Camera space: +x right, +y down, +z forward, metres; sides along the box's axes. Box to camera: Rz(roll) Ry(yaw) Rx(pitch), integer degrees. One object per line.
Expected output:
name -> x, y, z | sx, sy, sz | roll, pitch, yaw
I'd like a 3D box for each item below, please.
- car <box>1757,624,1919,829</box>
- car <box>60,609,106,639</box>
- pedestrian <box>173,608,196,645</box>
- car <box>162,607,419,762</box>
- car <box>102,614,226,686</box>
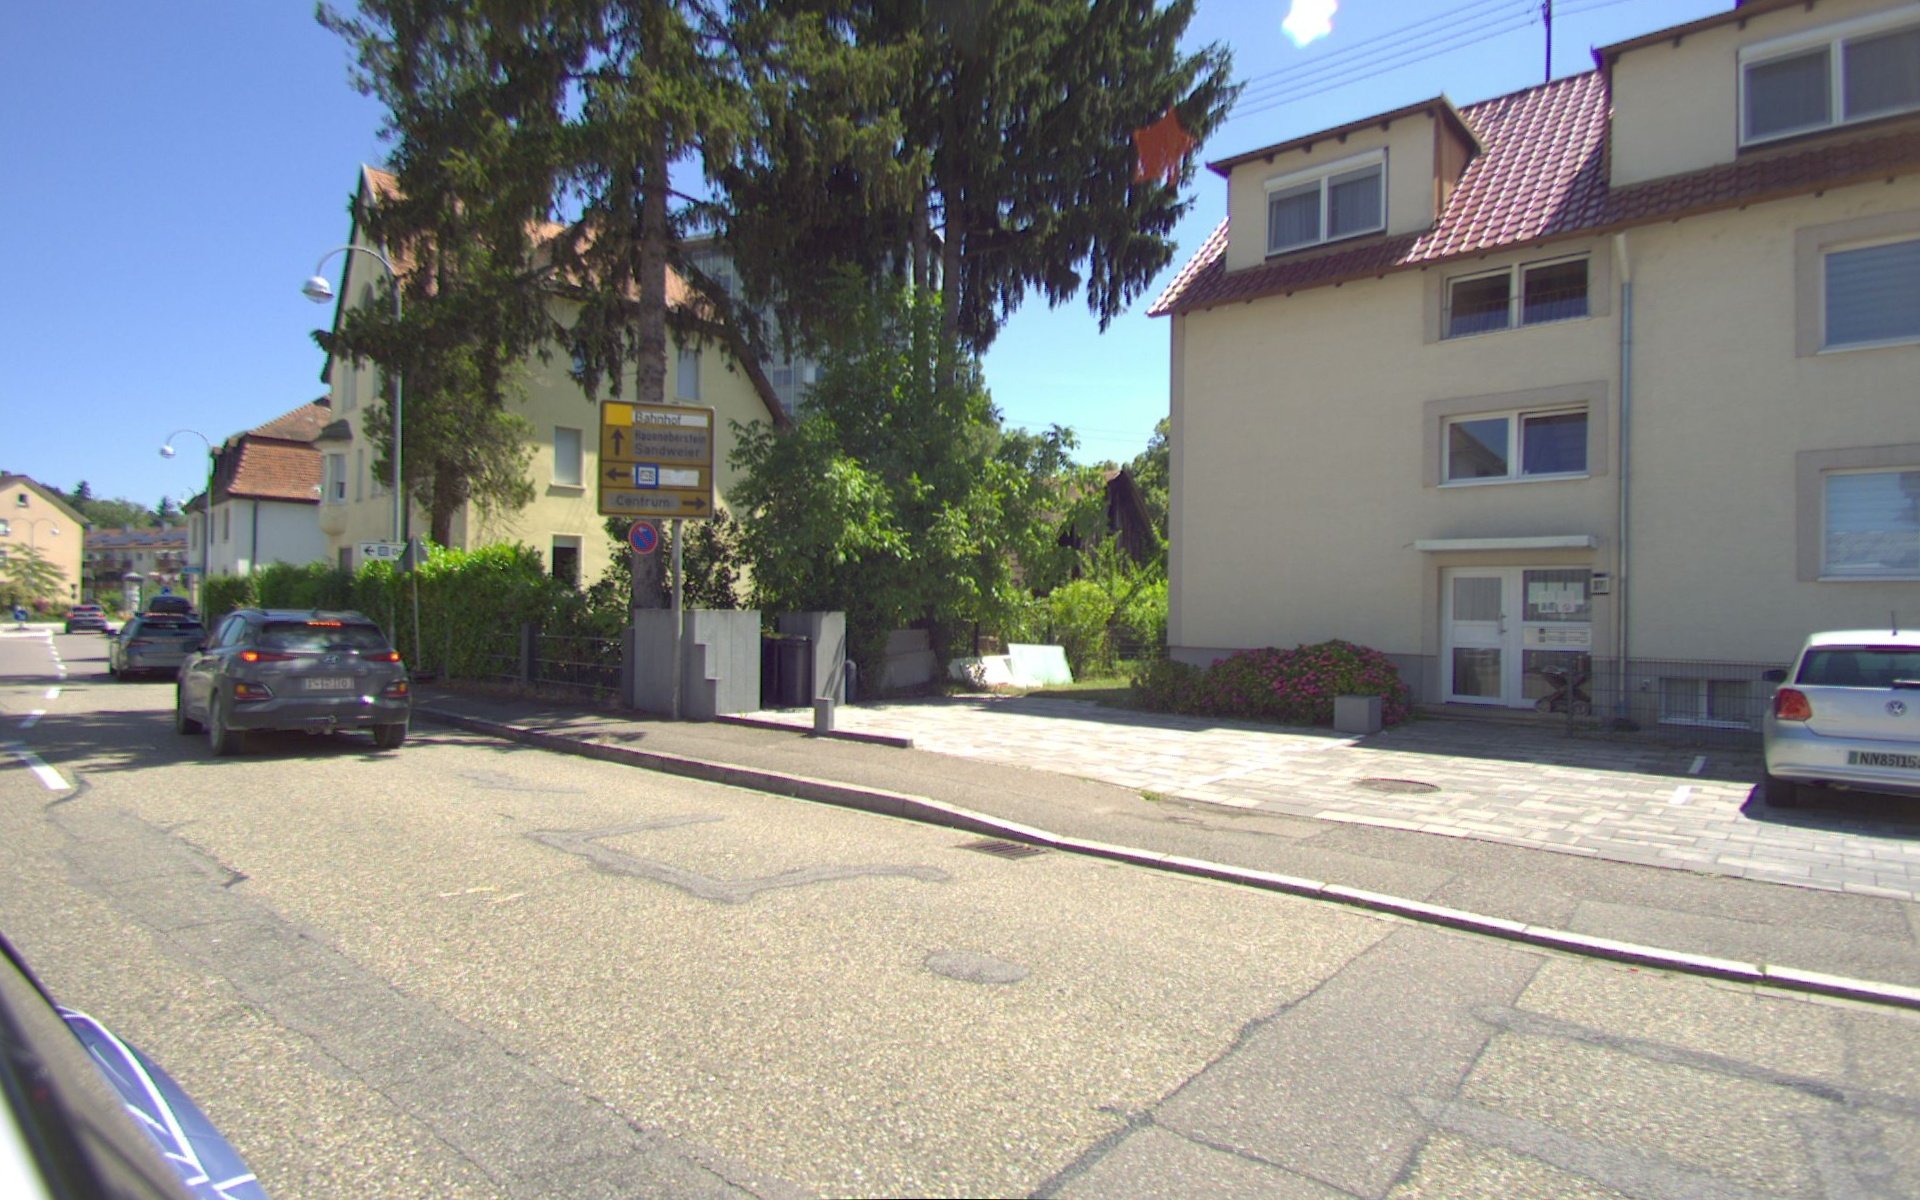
car -> 8.459, 0.957, 8.930 | 1.847, 1.452, 4.418 | -1, -1, 43
car -> -49.325, 1.342, 56.879 | 1.831, 1.629, 4.301 | 1, -1, -43
pedestrian -> -34.407, 1.184, 44.883 | 0.824, 1.576, 0.606 | -1, 3, 45
car -> -8.048, 0.910, 12.003 | 1.720, 1.516, 4.145 | 5, -4, -44
car -> -18.328, 1.122, 23.230 | 1.784, 1.500, 4.390 | 4, -4, -43
